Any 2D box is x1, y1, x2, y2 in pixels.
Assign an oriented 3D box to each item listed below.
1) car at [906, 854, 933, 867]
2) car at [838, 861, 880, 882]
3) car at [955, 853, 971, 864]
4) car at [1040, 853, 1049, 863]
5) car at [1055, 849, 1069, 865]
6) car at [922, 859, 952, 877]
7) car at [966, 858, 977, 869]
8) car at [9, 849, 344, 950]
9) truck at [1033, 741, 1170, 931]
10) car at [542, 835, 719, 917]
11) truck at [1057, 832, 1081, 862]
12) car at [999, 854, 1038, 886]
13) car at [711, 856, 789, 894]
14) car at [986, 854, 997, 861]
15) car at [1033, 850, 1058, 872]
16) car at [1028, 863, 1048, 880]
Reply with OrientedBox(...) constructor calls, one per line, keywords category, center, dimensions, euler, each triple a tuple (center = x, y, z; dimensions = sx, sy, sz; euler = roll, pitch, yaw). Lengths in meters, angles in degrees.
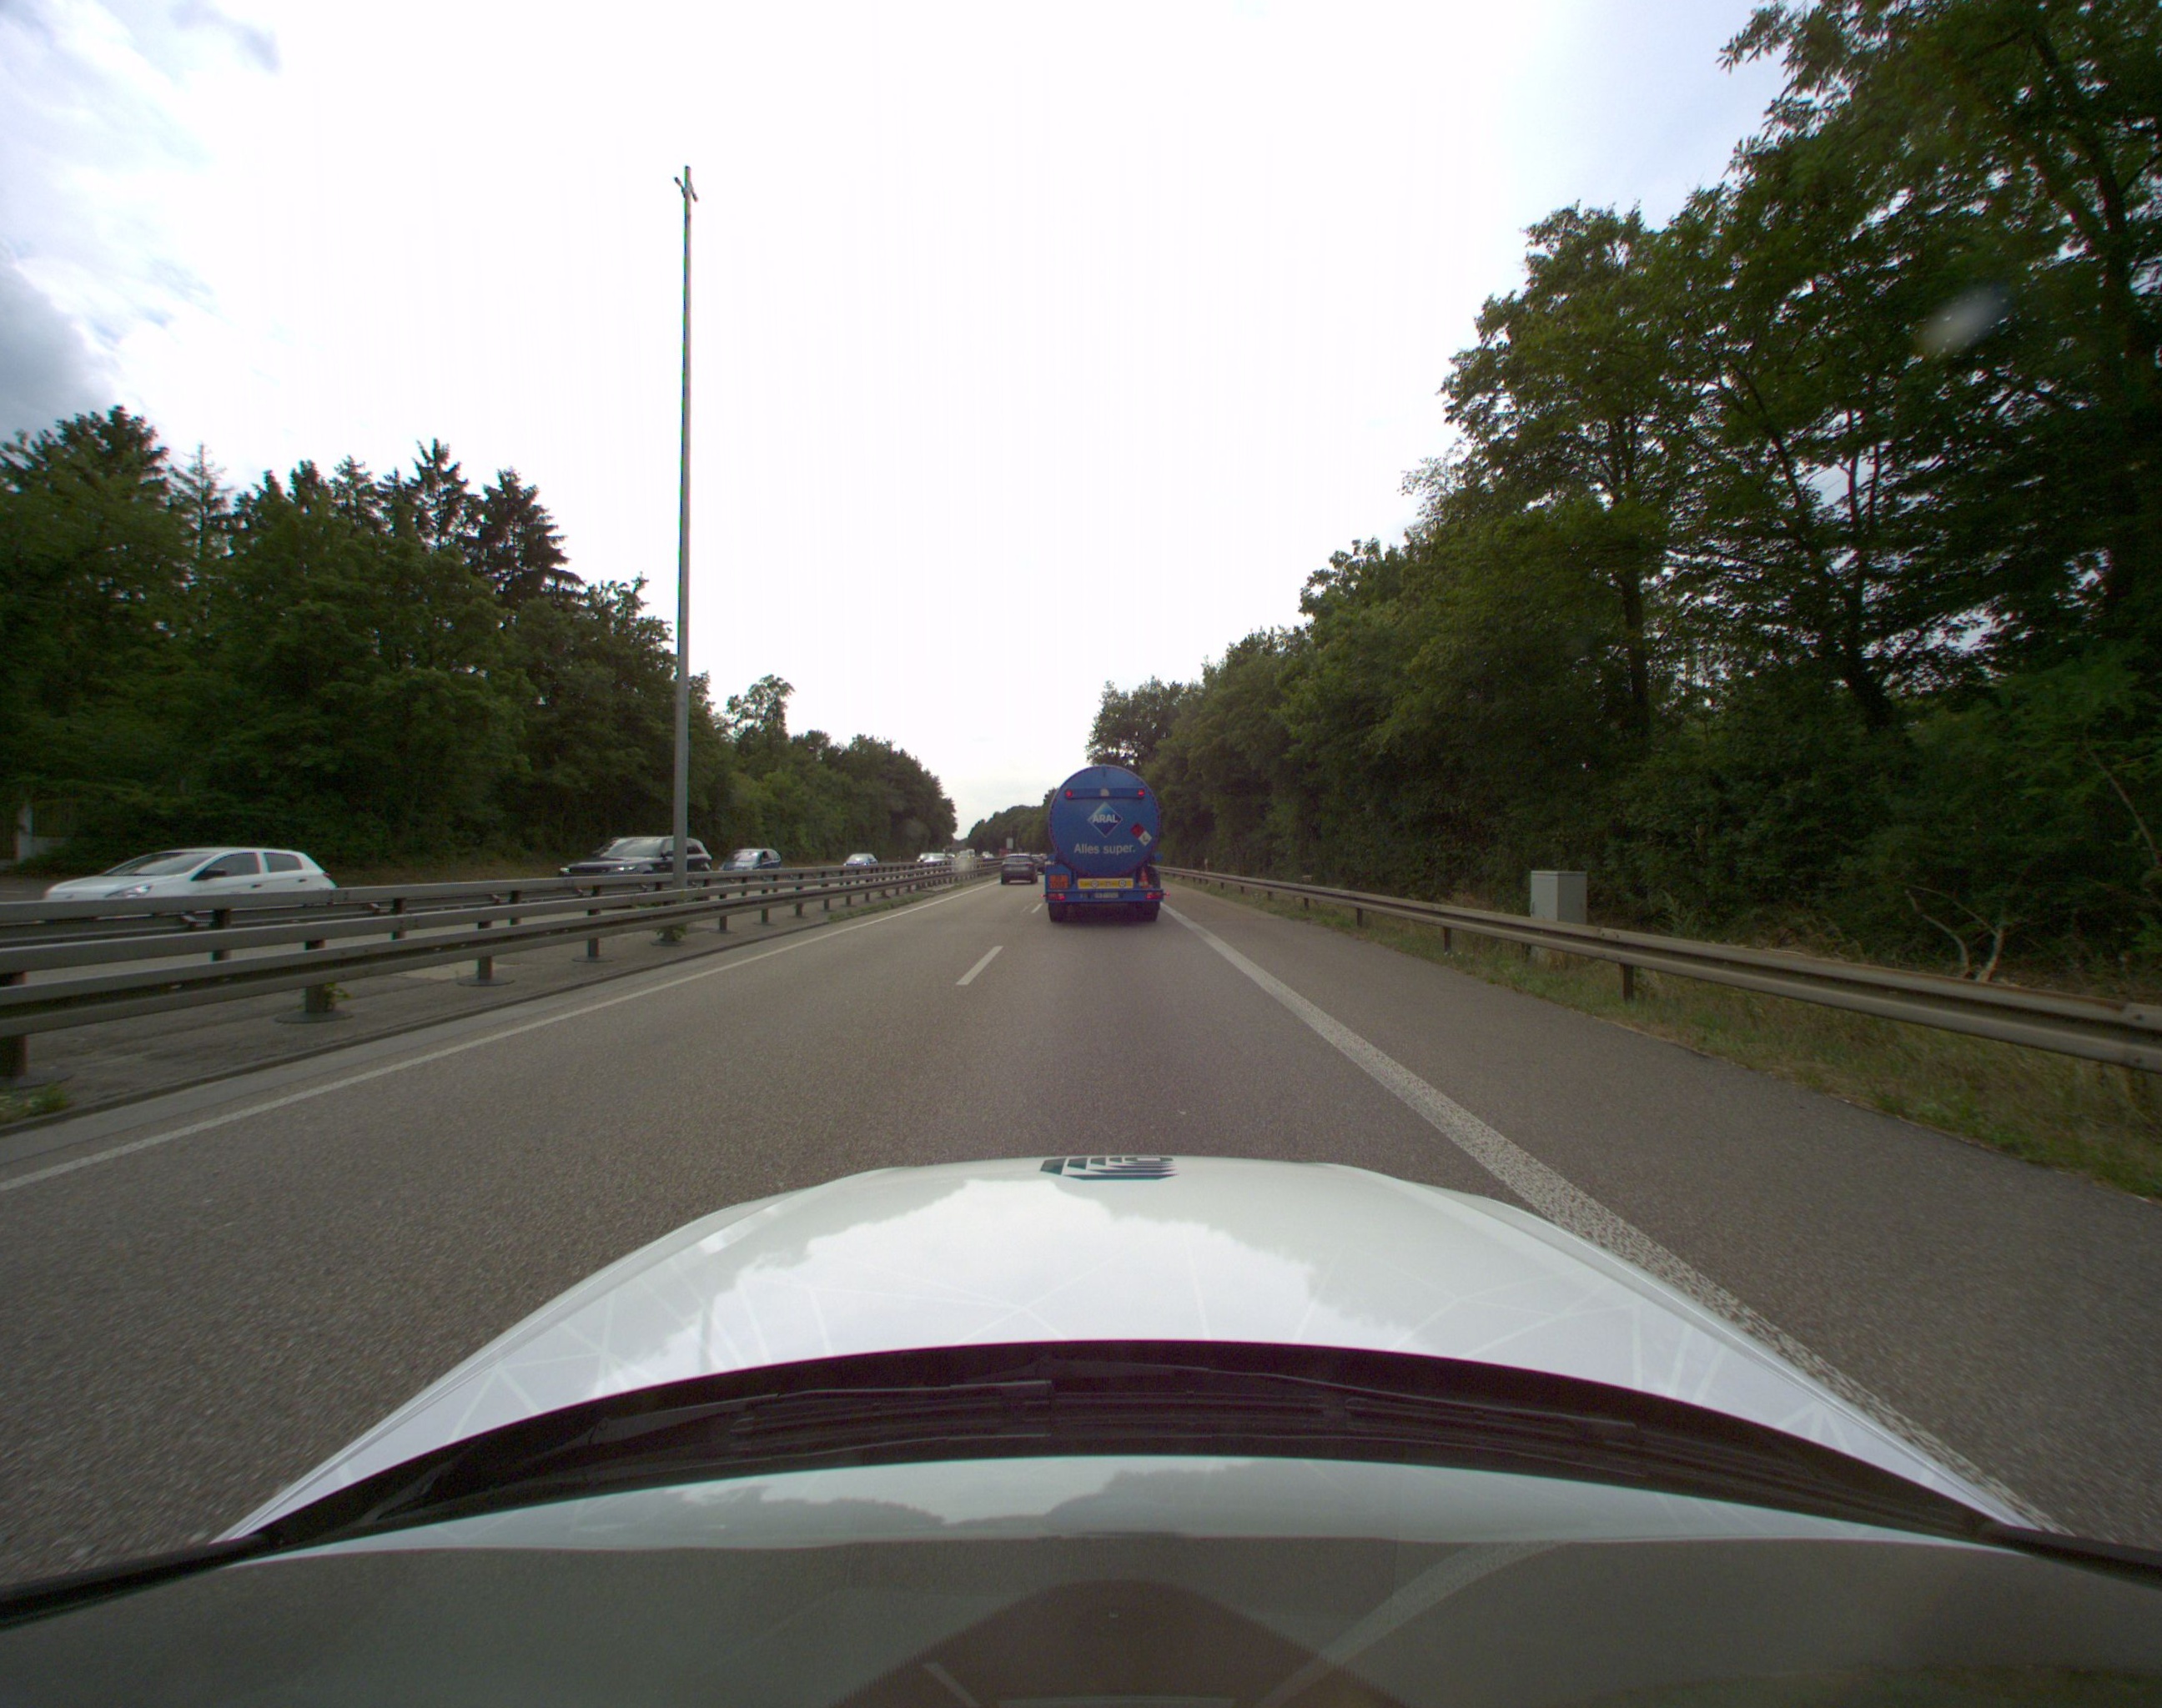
OrientedBox(category="car", center=(-16.463, 0.702, 83.112), dimensions=(1.972, 1.300, 4.065), euler=(-1, -1, -2))
OrientedBox(category="car", center=(-15.582, 1.215, 57.358), dimensions=(1.806, 1.450, 4.055), euler=(-1, -1, 0))
OrientedBox(category="car", center=(-19.864, 0.787, 137.402), dimensions=(2.029, 1.804, 5.120), euler=(-1, -1, -1))
OrientedBox(category="car", center=(-8.024, 0.957, 180.249), dimensions=(1.989, 2.244, 3.995), euler=(-1, -1, -3))
OrientedBox(category="car", center=(-2.706, 0.424, 119.006), dimensions=(1.988, 2.244, 3.998), euler=(-1, -1, -1))
OrientedBox(category="car", center=(-11.911, 1.116, 67.540), dimensions=(1.706, 1.427, 4.055), euler=(-1, -1, 0))
OrientedBox(category="car", center=(-26.748, 2.400, 199.524), dimensions=(2.307, 2.611, 5.546), euler=(-1, -1, -3))
OrientedBox(category="car", center=(-15.399, 0.709, 14.214), dimensions=(1.623, 1.508, 3.729), euler=(-1, -1, 1))
OrientedBox(category="truck", center=(0.468, -0.351, 20.572), dimensions=(2.746, 3.846, 7.688), euler=(-1, 0, 1))
OrientedBox(category="car", center=(-11.355, 0.519, 21.016), dimensions=(1.786, 1.836, 4.956), euler=(-1, -1, 0))
OrientedBox(category="truck", center=(-1.259, -0.652, 87.803), dimensions=(1.985, 3.093, 7.821), euler=(-1, -1, 3))
OrientedBox(category="car", center=(-3.277, 0.857, 43.585), dimensions=(1.821, 1.609, 4.165), euler=(-1, -1, -1))
OrientedBox(category="car", center=(-14.638, 0.905, 36.267), dimensions=(1.725, 1.601, 4.131), euler=(-1, -1, 0))
OrientedBox(category="car", center=(-16.794, 0.747, 153.359), dimensions=(1.650, 1.278, 4.710), euler=(1, -1, -1))
OrientedBox(category="car", center=(-2.773, 0.570, 64.721), dimensions=(1.821, 1.609, 4.165), euler=(-1, -1, -1))
OrientedBox(category="car", center=(-5.249, 2.103, 100.368), dimensions=(1.984, 2.014, 4.004), euler=(-1, -1, 4))
